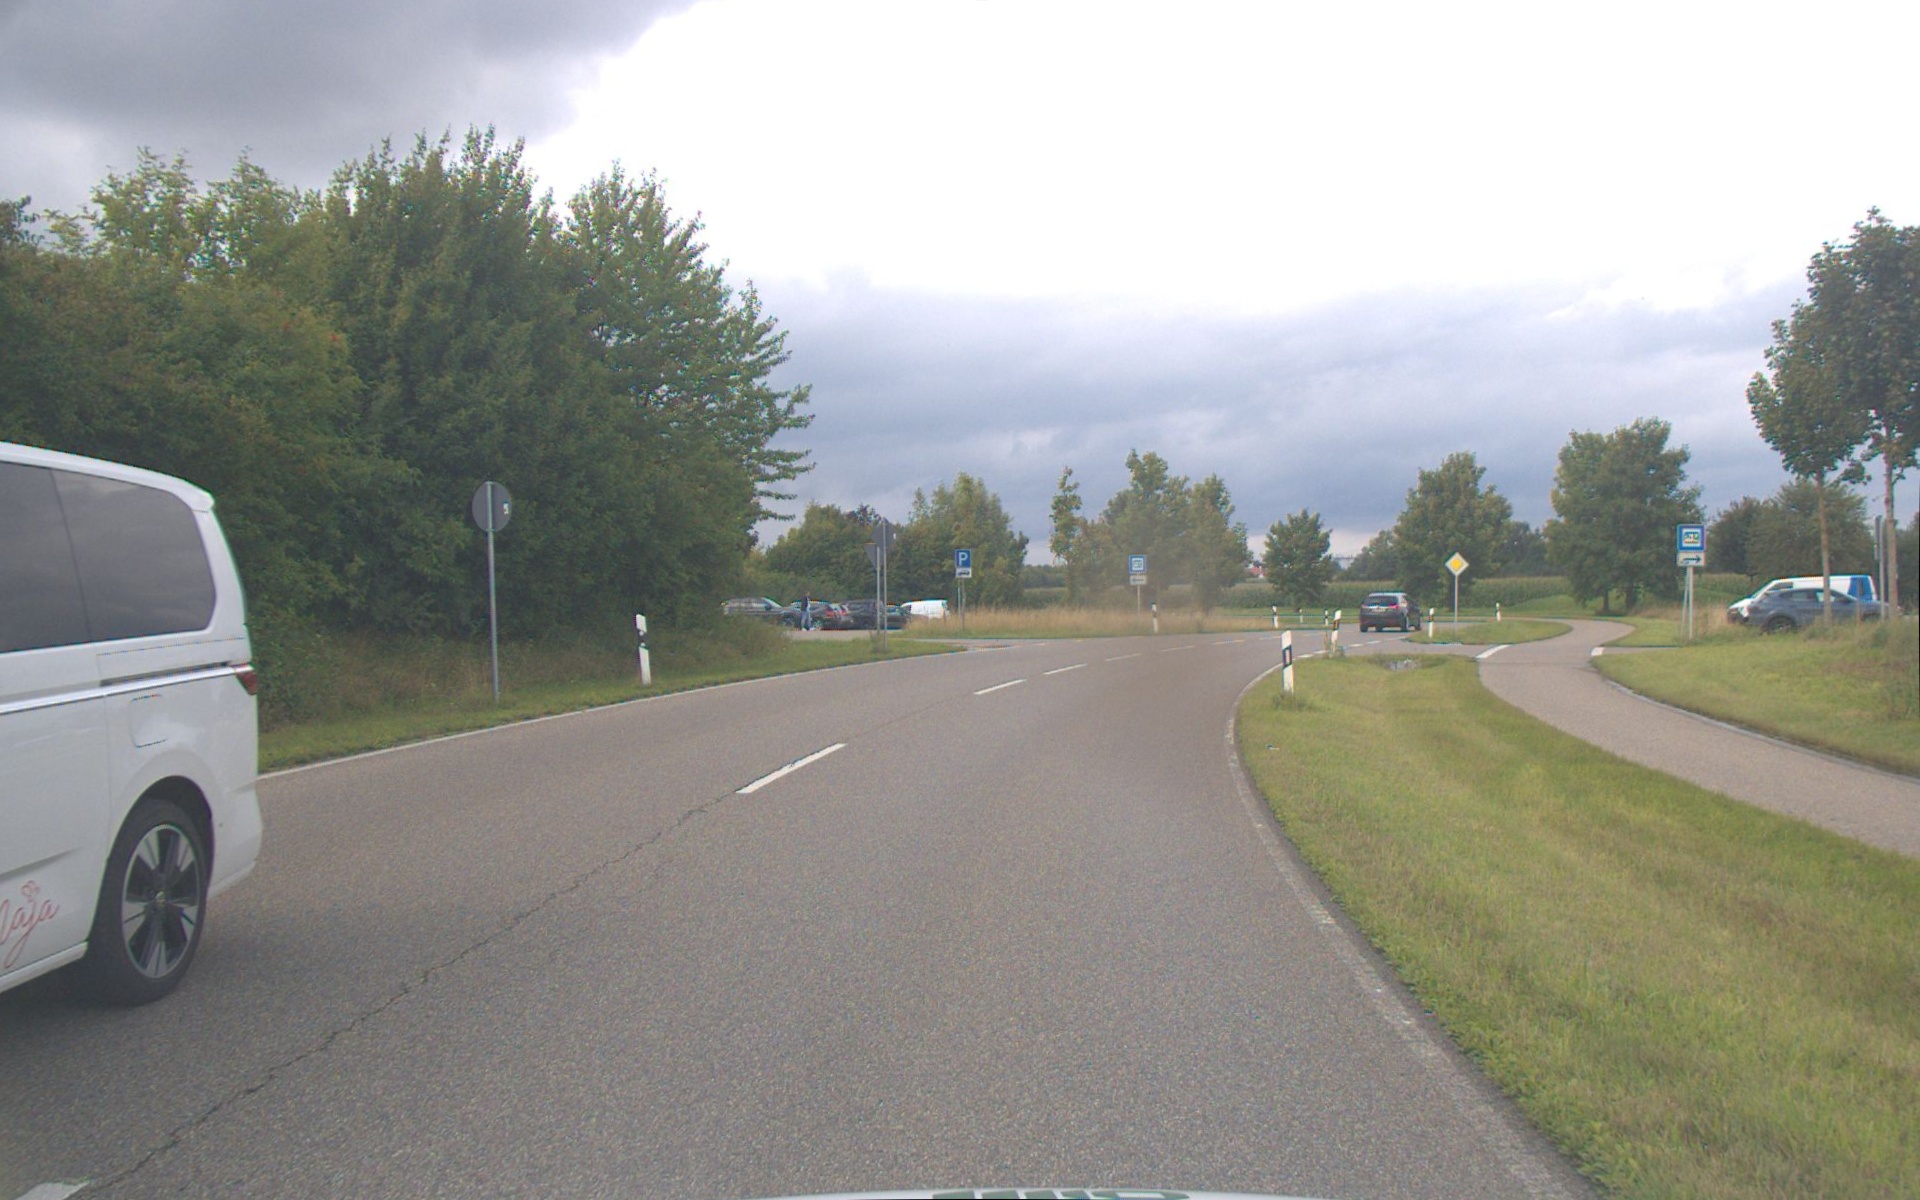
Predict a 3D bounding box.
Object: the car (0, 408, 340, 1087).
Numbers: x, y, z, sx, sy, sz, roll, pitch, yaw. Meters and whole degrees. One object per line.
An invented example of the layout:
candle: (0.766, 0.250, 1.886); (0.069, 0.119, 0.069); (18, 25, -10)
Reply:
car: (-3.734, 0.421, 4.407); (2.069, 1.901, 5.188); (-1, 0, 2)

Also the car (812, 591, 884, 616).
car: (-6.259, 0.190, 92.758); (3.905, 1.404, 1.476); (-1, 0, 0)

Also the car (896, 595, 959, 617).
car: (-2.111, 0.367, 106.746); (3.902, 1.404, 1.477); (-1, 0, 6)

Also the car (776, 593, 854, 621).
car: (-7.568, 0.378, 86.470); (3.905, 1.404, 1.476); (-1, 0, -1)

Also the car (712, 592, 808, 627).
car: (-9.375, 0.463, 77.722); (4.150, 1.593, 1.759); (-1, 0, 9)

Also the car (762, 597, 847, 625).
car: (-7.826, 0.552, 83.611); (3.901, 1.404, 1.825); (-1, 0, 12)

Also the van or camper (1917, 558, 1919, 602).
van or camper: (60.729, -1.240, 98.221); (6.610, 2.606, 2.047); (0, 0, 26)

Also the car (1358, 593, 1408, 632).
car: (16.377, 0.458, 63.893); (1.802, 1.442, 4.003); (-1, 0, 15)

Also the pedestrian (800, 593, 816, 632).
pedestrian: (-6.698, 0.549, 73.071); (0.504, 1.696, 0.661); (-1, 0, 14)

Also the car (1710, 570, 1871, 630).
car: (28.802, 0.001, 57.555); (4.845, 2.008, 1.954); (-1, 0, 23)

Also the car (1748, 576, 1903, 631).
car: (27.499, 0.119, 52.694); (4.185, 1.593, 1.837); (-2, -1, 23)

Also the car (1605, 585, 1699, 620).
car: (34.624, 0.136, 82.877); (4.240, 1.603, 1.971); (-2, -1, 22)
